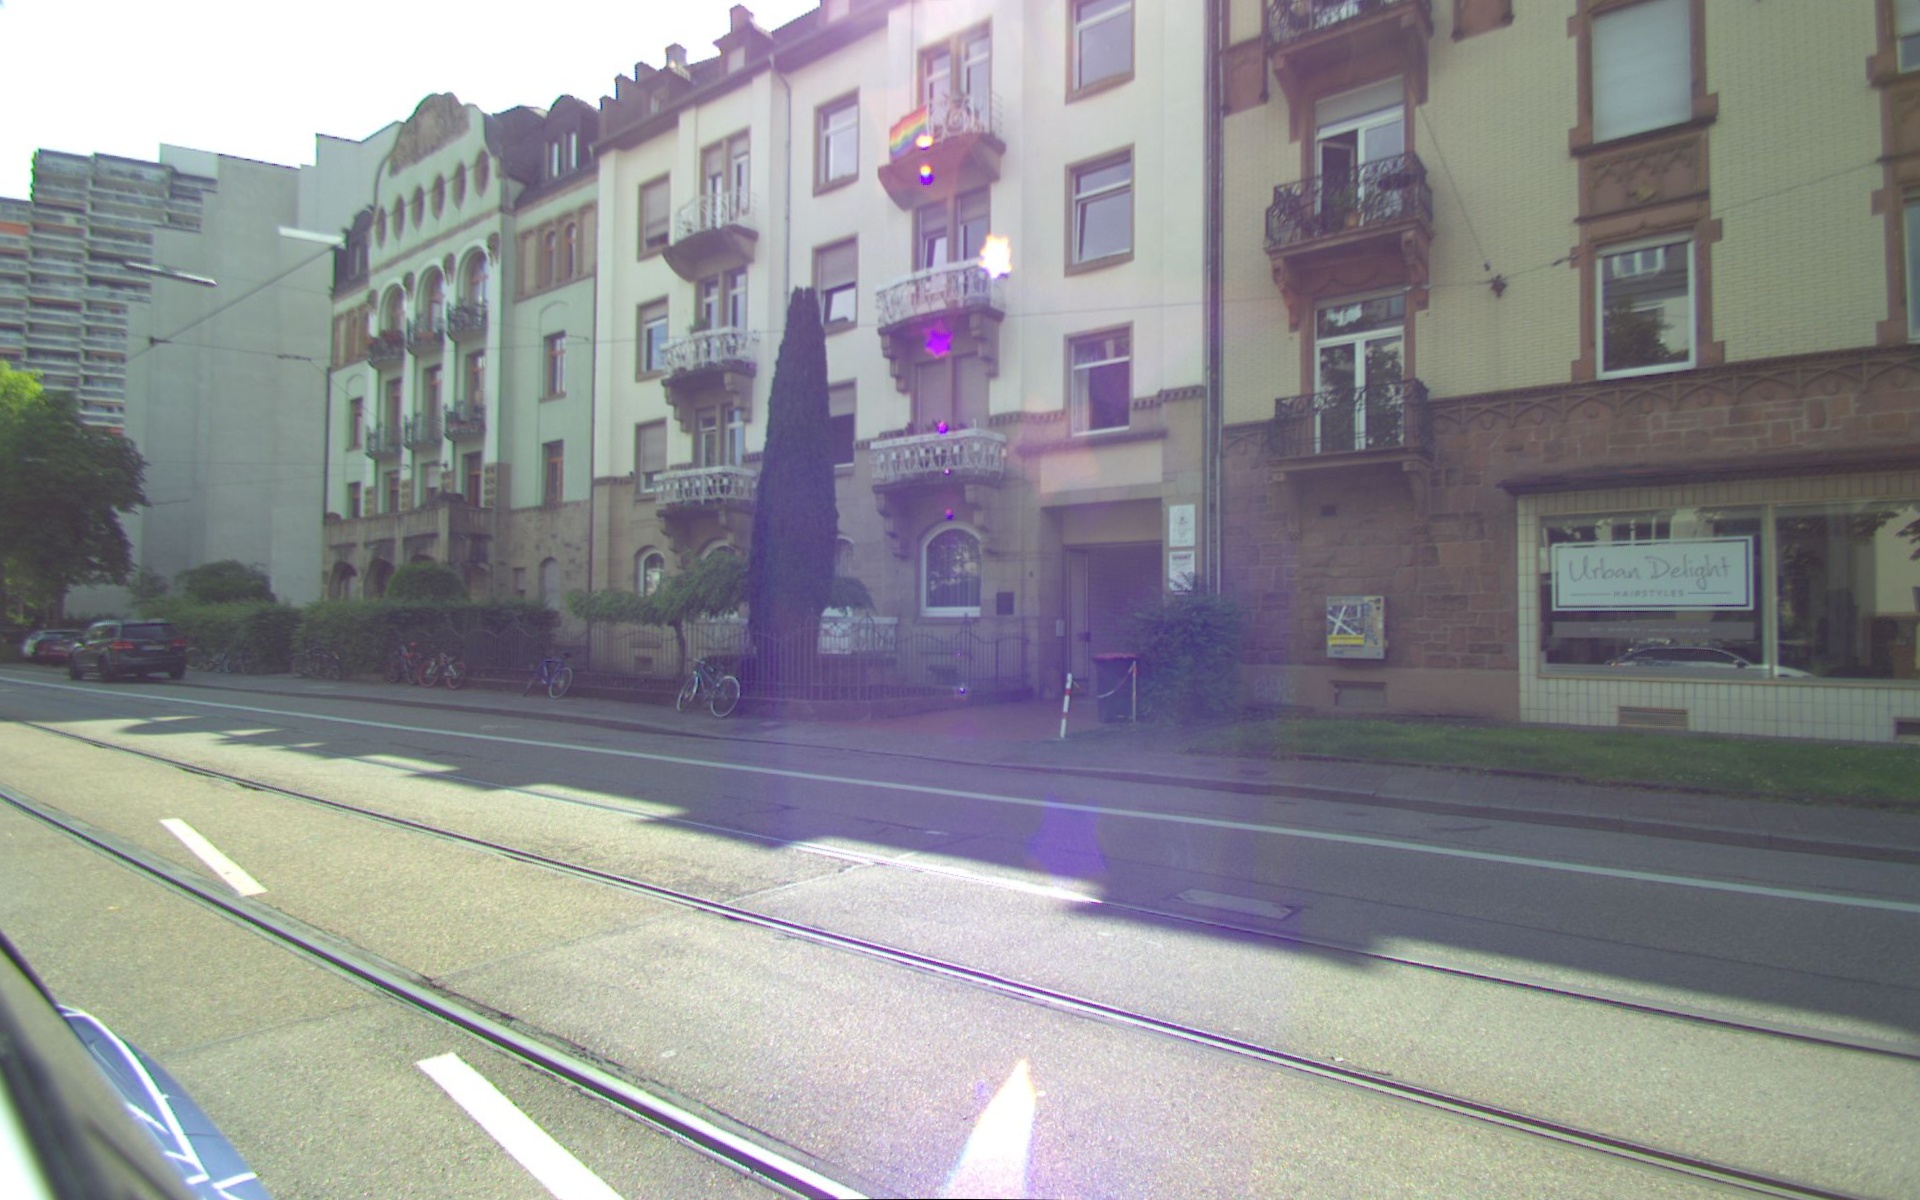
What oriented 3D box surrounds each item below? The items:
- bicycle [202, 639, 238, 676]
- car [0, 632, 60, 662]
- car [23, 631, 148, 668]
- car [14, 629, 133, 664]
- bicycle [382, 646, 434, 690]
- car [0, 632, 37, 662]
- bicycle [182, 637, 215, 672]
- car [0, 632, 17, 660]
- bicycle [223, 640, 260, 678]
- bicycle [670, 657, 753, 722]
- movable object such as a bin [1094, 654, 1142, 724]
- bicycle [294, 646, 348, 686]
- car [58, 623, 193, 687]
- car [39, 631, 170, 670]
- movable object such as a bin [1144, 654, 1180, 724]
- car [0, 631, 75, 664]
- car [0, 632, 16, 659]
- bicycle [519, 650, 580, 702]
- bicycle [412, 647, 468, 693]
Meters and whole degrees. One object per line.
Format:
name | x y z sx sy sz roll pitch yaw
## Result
bicycle | -23.787 1.826 32.530 1.785 1.144 0.462 -1 -3 39
car | -47.806 2.343 50.744 3.939 1.519 2.002 2 -3 -42
car | -37.394 2.099 43.343 3.939 1.519 2.002 2 -3 -42
car | -40.012 2.090 45.743 3.939 1.519 2.002 2 -3 -42
bicycle | -13.384 1.623 24.509 1.785 1.003 0.462 -1 -3 39
car | -50.496 2.425 52.380 3.939 1.519 2.002 2 -3 -42
bicycle | -25.448 1.819 33.811 1.785 1.144 0.462 -1 -3 39
car | -53.197 2.448 54.148 3.939 1.519 2.002 2 -3 -42
bicycle | -22.256 1.812 31.336 1.785 1.144 0.462 -1 -3 39
bicycle | -4.273 1.501 17.294 0.461 1.003 1.980 2 -3 -43
movable object such as a bin | 2.429 1.357 15.529 0.698 1.037 0.475 0 -2 12
bicycle | -16.868 1.717 26.702 1.979 1.003 0.597 -1 -3 39
car | -23.979 1.539 29.051 4.392 1.708 1.899 -1 -3 35
car | -34.699 2.022 41.102 3.939 1.519 2.002 2 -3 -42
movable object such as a bin | 3.105 1.359 15.590 0.531 1.037 0.475 0 -2 10
car | -45.340 2.271 48.779 3.939 1.519 2.002 2 -3 -42
car | -55.398 2.519 56.439 3.939 1.519 2.002 2 -3 -42
bicycle | -8.362 1.525 20.575 1.788 1.003 0.461 -2 -3 45
bicycle | -11.961 1.591 23.253 1.785 1.003 0.462 -1 -3 39
